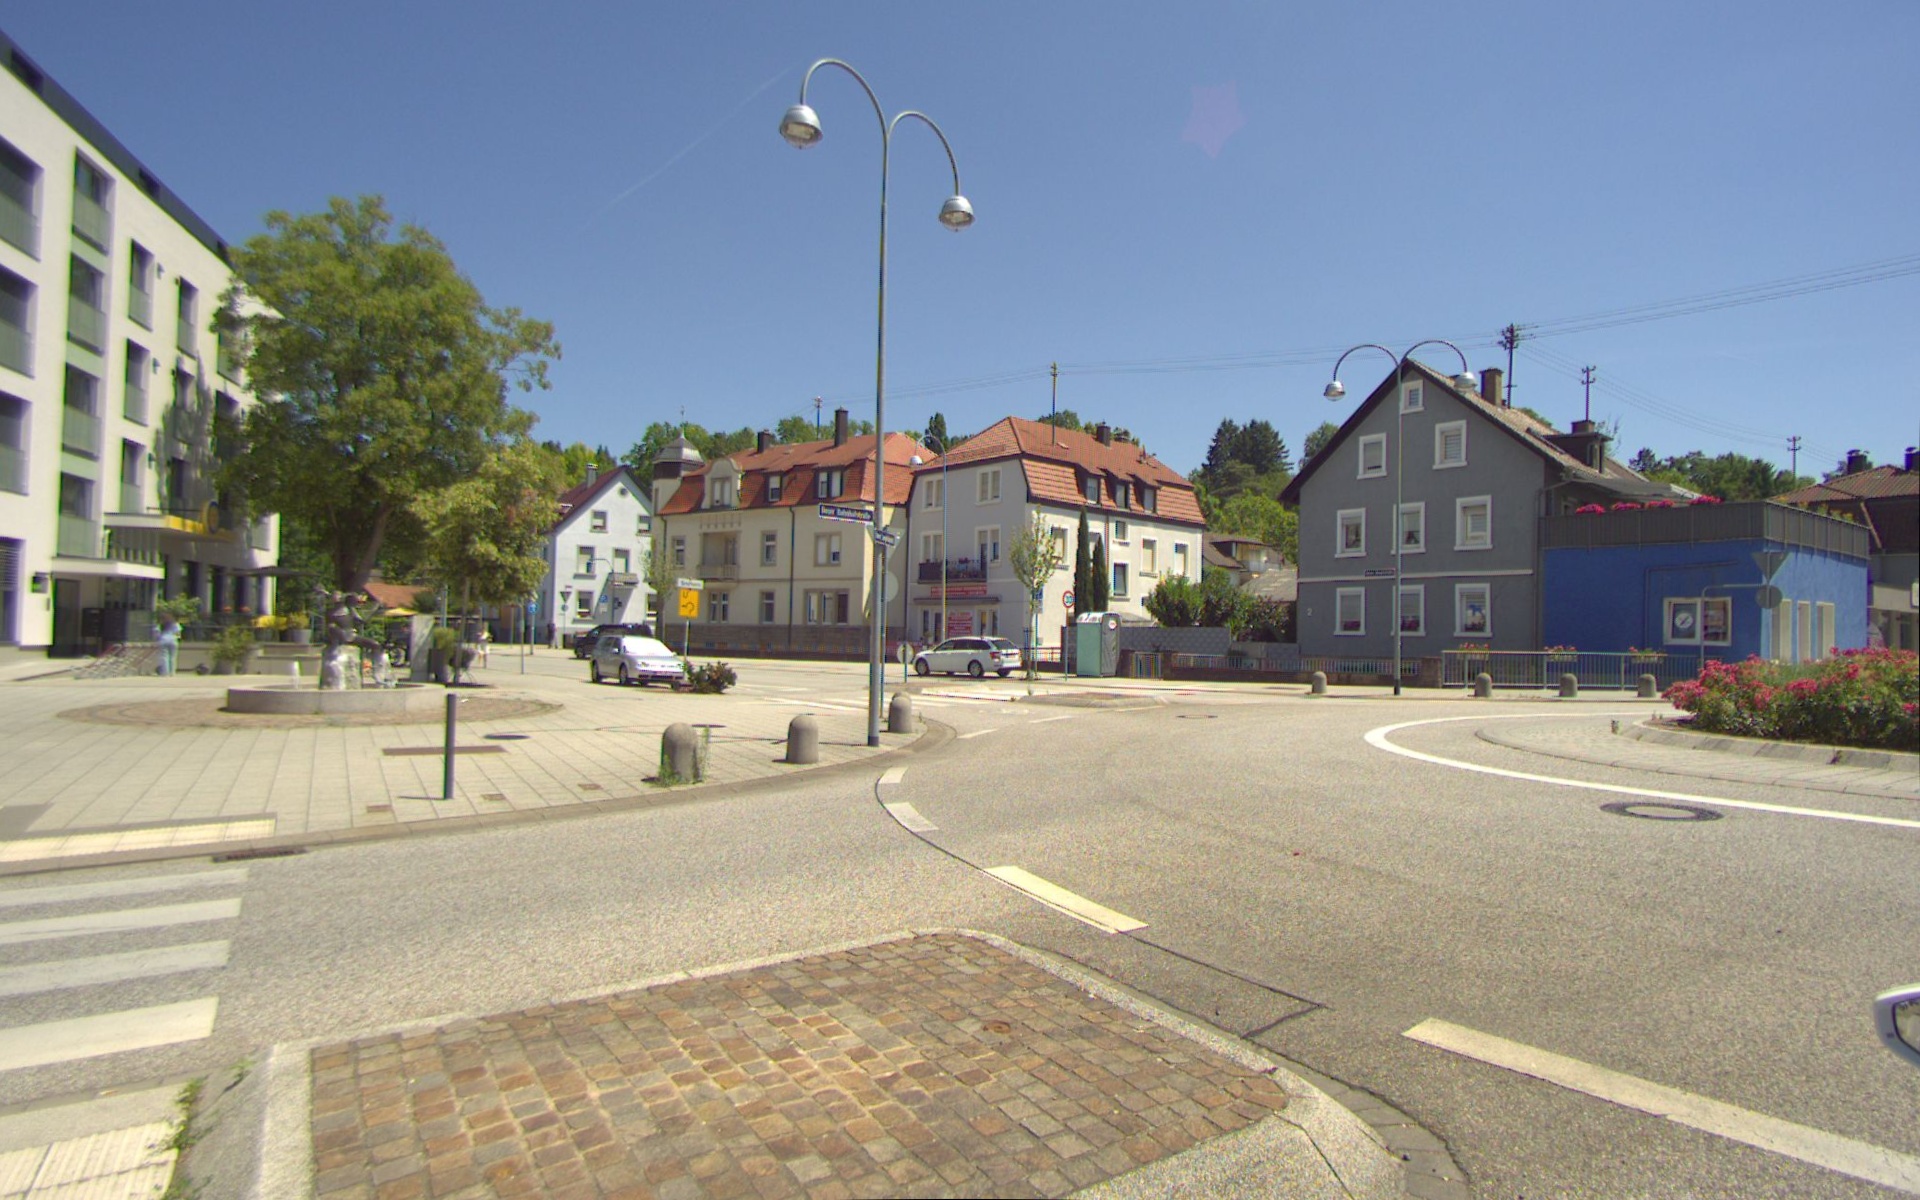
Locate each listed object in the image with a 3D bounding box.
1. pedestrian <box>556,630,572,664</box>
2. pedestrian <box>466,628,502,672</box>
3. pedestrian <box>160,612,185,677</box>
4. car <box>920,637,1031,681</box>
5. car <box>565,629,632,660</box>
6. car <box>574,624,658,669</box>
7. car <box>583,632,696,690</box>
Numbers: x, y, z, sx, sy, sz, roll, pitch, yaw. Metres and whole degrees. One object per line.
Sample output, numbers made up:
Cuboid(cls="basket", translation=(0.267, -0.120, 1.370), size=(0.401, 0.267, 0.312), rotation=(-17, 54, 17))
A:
Cuboid(cls="pedestrian", translation=(-23.781, 2.825, 60.359), size=(0.707, 2.040, 0.874), rotation=(1, -2, -10))
Cuboid(cls="pedestrian", translation=(-18.282, 1.920, 38.573), size=(0.932, 1.670, 0.819), rotation=(0, -2, 19))
Cuboid(cls="pedestrian", translation=(-20.284, 1.143, 25.873), size=(0.446, 1.640, 0.446), rotation=(2, -2, -35))
Cuboid(cls="car", translation=(0.526, 2.121, 36.911), size=(4.019, 1.410, 1.601), rotation=(-1, 0, 41))
Cuboid(cls="car", translation=(-25.494, 3.123, 70.833), size=(3.919, 2.040, 2.002), rotation=(0, -2, 9))
Cuboid(cls="car", translation=(-17.600, 2.337, 51.353), size=(3.930, 2.040, 1.996), rotation=(2, -1, 31))
Cuboid(cls="car", translation=(-9.387, 1.726, 29.278), size=(1.782, 1.544, 3.954), rotation=(2, -2, -40))
